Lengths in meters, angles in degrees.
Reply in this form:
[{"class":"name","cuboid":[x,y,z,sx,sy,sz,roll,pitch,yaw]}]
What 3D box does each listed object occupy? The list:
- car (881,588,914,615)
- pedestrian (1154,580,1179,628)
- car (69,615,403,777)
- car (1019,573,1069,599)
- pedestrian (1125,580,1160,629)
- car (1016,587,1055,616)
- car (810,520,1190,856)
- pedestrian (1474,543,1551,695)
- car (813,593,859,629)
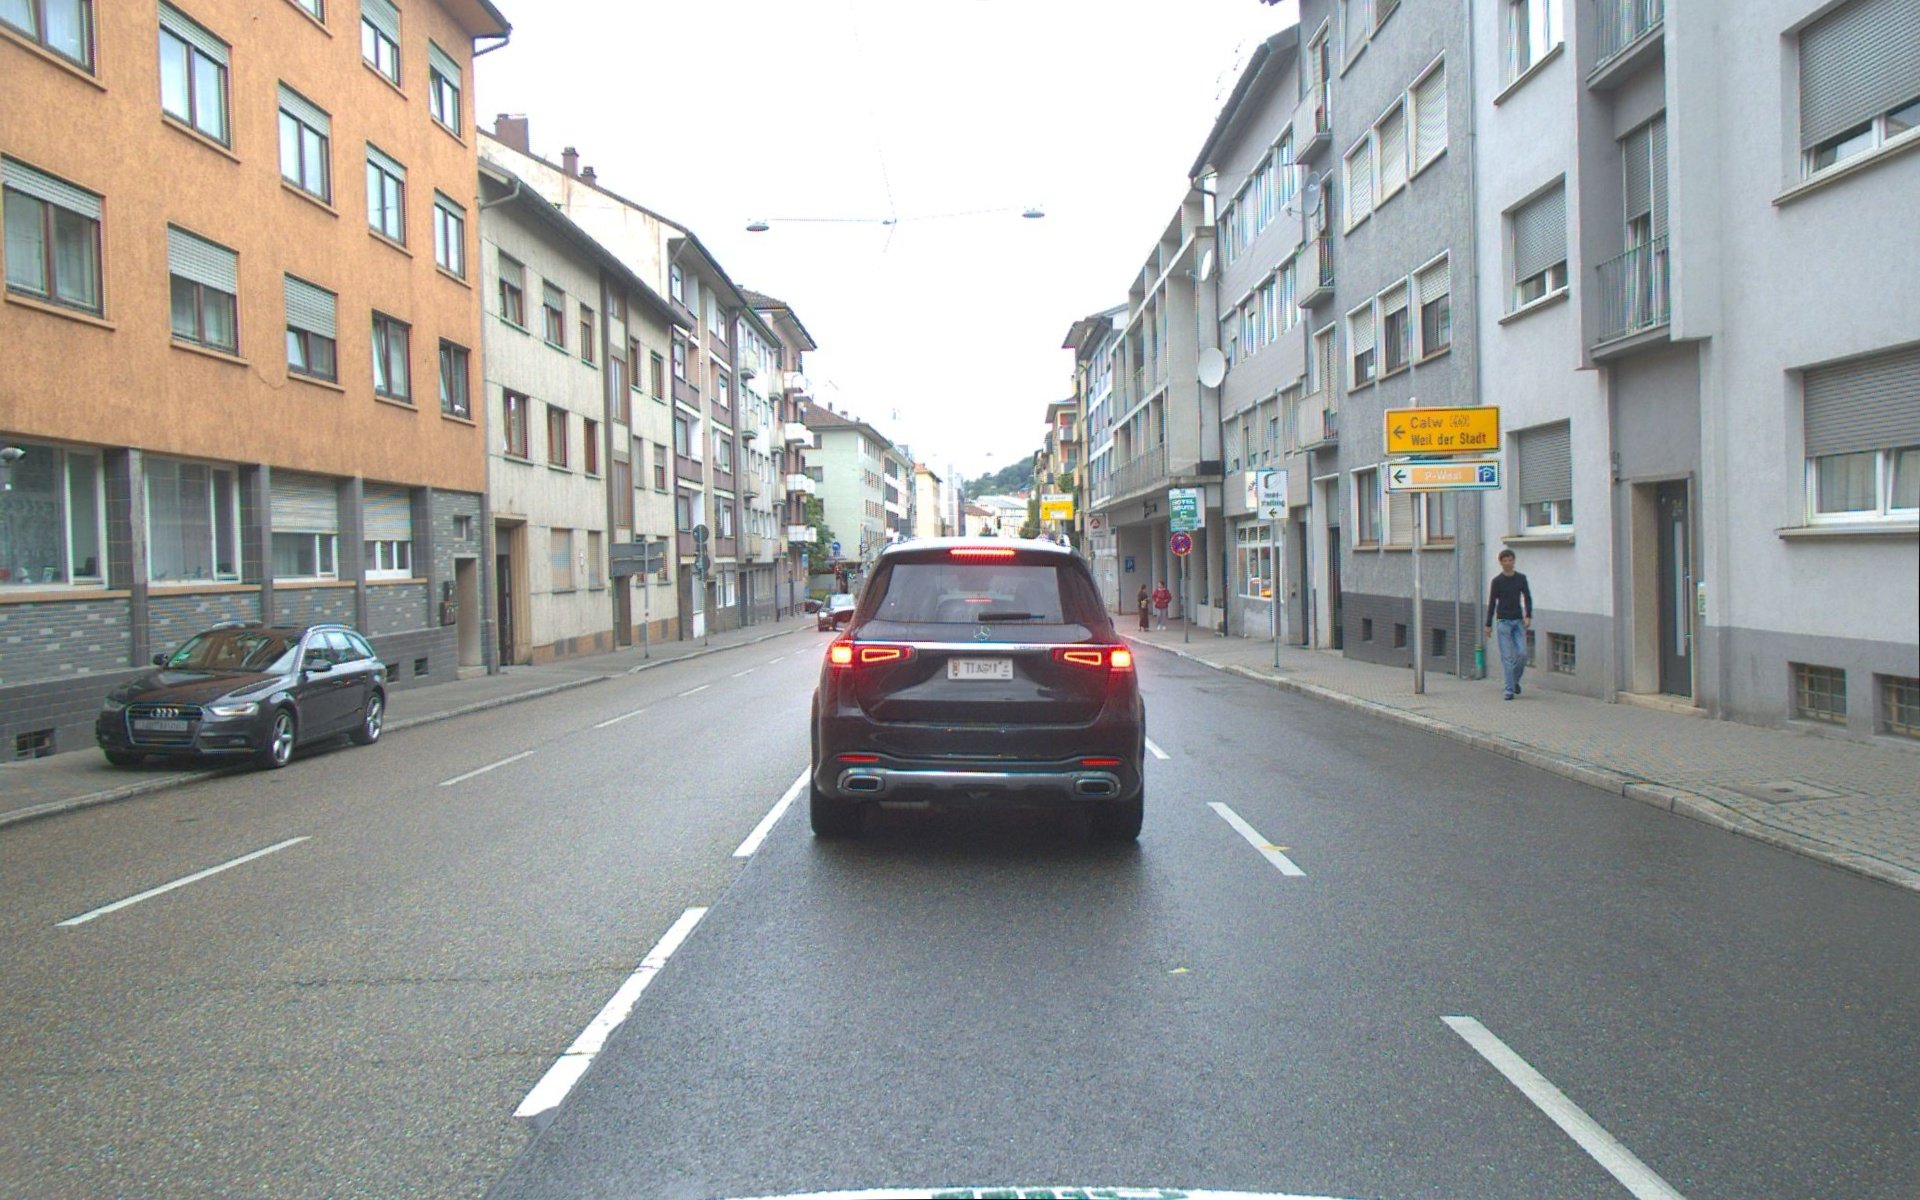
[{"class":"car","cuboid":[-3.687,0.073,97.696,1.853,1.484,4.549,0,1,-1]},{"class":"pedestrian","cuboid":[6.911,0.128,55.358,0.803,1.592,0.900,0,1,4]},{"class":"car","cuboid":[-7.932,0.966,18.653,1.853,1.484,4.548,0,1,-2]},{"class":"car","cuboid":[6.568,-1.090,129.728,3.903,2.049,2.001,0,1,3]},{"class":"pedestrian","cuboid":[6.121,0.142,55.513,0.812,1.592,0.891,-1,1,-28]},{"class":"car","cuboid":[3.769,0.050,83.140,1.699,1.412,4.582,0,1,-1]},{"class":"car","cuboid":[0.178,0.427,11.191,2.034,1.796,4.610,0,1,-1]},{"class":"pedestrian","cuboid":[6.734,0.221,20.183,0.642,1.782,0.742,-4,0,5]},{"class":"car","cuboid":[-5.505,0.453,73.798,1.853,1.484,4.548,0,1,-2]}]
